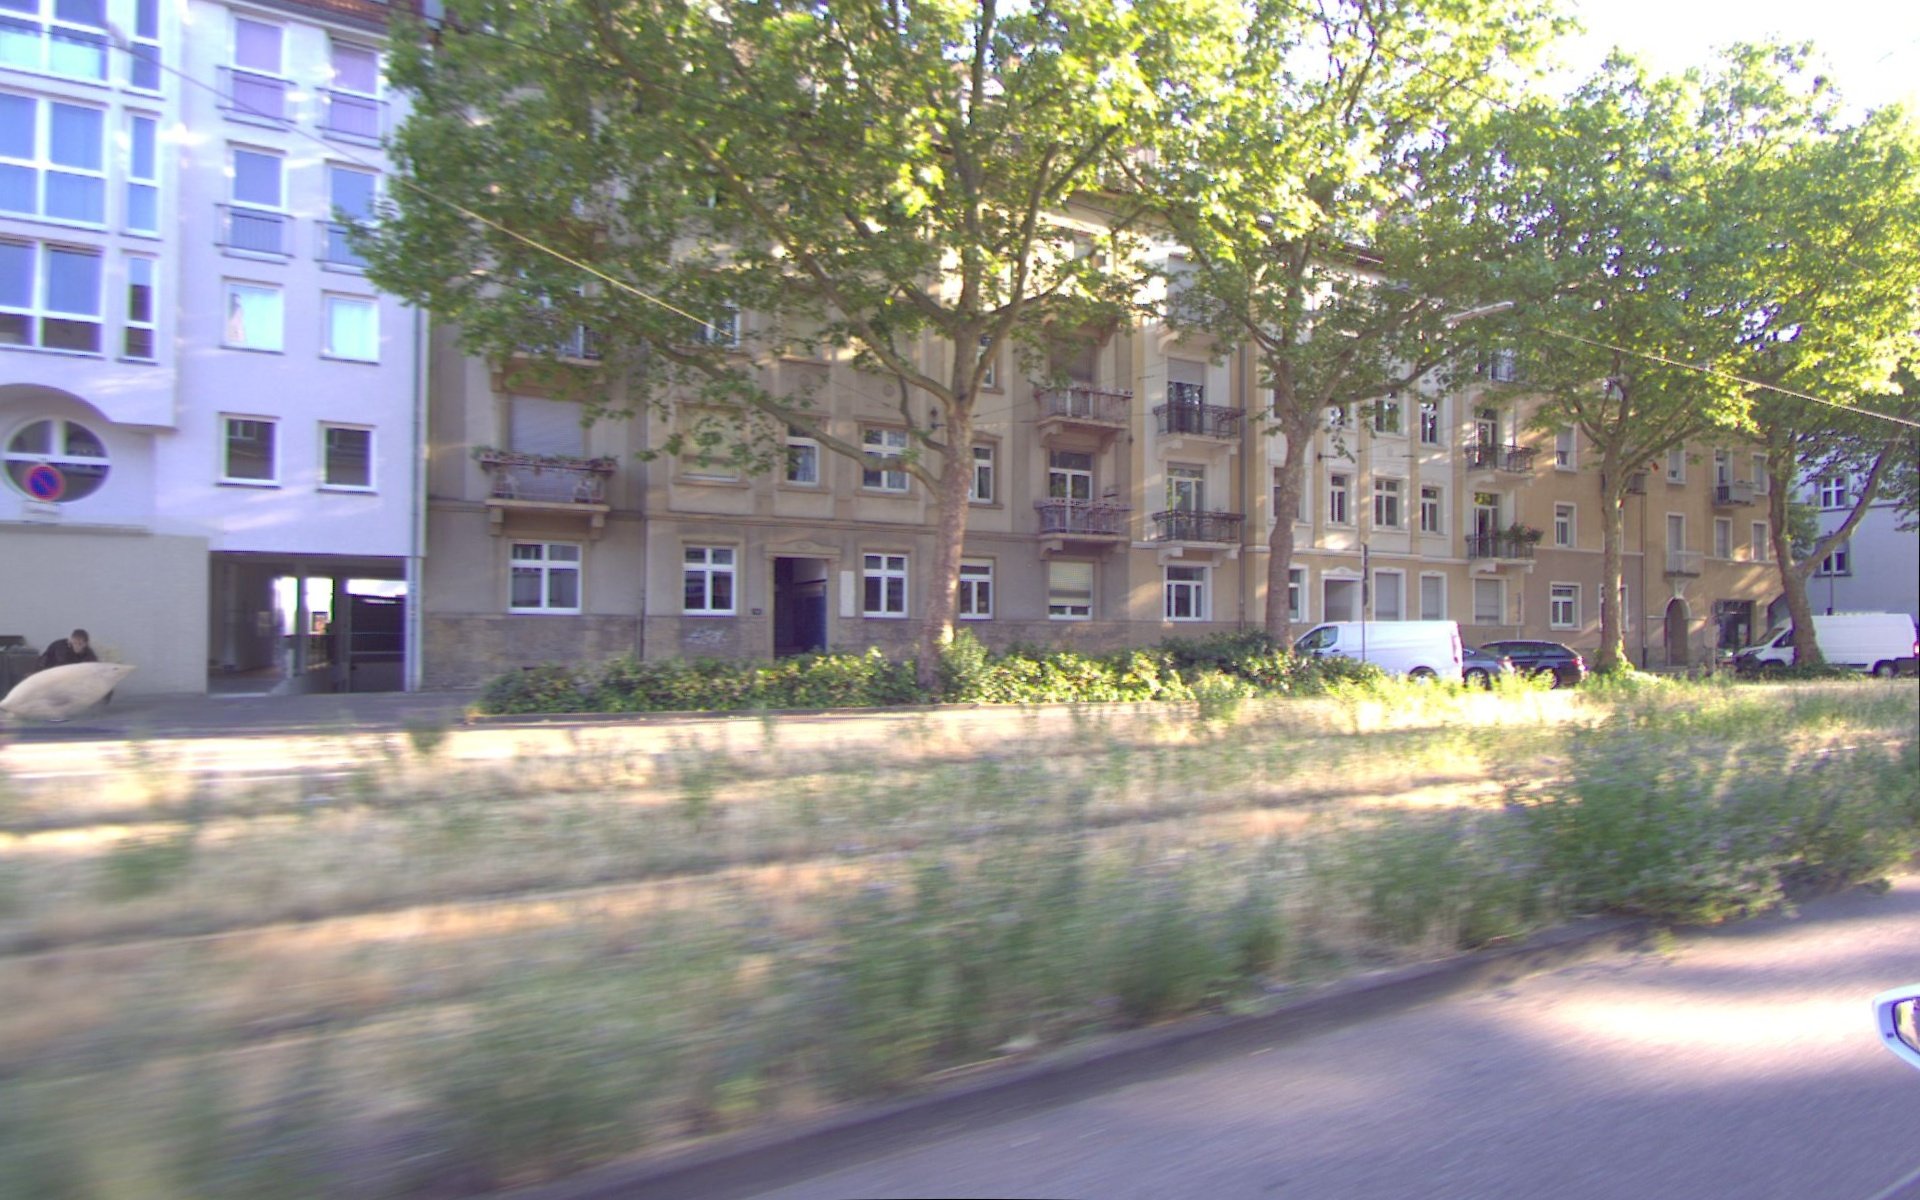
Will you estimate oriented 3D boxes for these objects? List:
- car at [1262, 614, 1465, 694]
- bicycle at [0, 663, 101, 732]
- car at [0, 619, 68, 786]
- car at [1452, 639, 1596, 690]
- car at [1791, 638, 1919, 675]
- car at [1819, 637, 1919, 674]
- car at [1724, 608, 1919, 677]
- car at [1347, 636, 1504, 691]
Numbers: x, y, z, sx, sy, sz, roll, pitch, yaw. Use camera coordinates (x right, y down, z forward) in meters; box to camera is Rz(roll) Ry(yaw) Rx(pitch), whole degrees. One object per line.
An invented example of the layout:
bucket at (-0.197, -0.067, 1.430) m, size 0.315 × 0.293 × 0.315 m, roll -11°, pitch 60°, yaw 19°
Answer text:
car at (11.225, 1.453, 28.208) m, size 5.145 × 2.093 × 1.721 m, roll 0°, pitch -1°, yaw 22°
bicycle at (-15.883, 1.640, 17.019) m, size 1.862 × 1.047 × 0.757 m, roll 2°, pitch 4°, yaw -13°
car at (-11.077, 0.936, 8.709) m, size 4.639 × 1.505 × 1.711 m, roll 1°, pitch -4°, yaw -27°
car at (17.261, 1.946, 30.927) m, size 3.656 × 1.441 × 1.721 m, roll 0°, pitch -2°, yaw 22°
car at (36.137, 2.257, 40.519) m, size 3.638 × 1.418 × 1.736 m, roll 0°, pitch -2°, yaw 22°
car at (38.513, 2.296, 42.020) m, size 3.646 × 1.485 × 1.732 m, roll -2°, pitch -3°, yaw 32°
car at (33.571, 1.609, 39.326) m, size 5.402 × 2.562 × 2.126 m, roll 0°, pitch -1°, yaw 22°
car at (13.669, 1.837, 29.722) m, size 4.095 × 1.511 × 1.721 m, roll 0°, pitch -2°, yaw 22°
